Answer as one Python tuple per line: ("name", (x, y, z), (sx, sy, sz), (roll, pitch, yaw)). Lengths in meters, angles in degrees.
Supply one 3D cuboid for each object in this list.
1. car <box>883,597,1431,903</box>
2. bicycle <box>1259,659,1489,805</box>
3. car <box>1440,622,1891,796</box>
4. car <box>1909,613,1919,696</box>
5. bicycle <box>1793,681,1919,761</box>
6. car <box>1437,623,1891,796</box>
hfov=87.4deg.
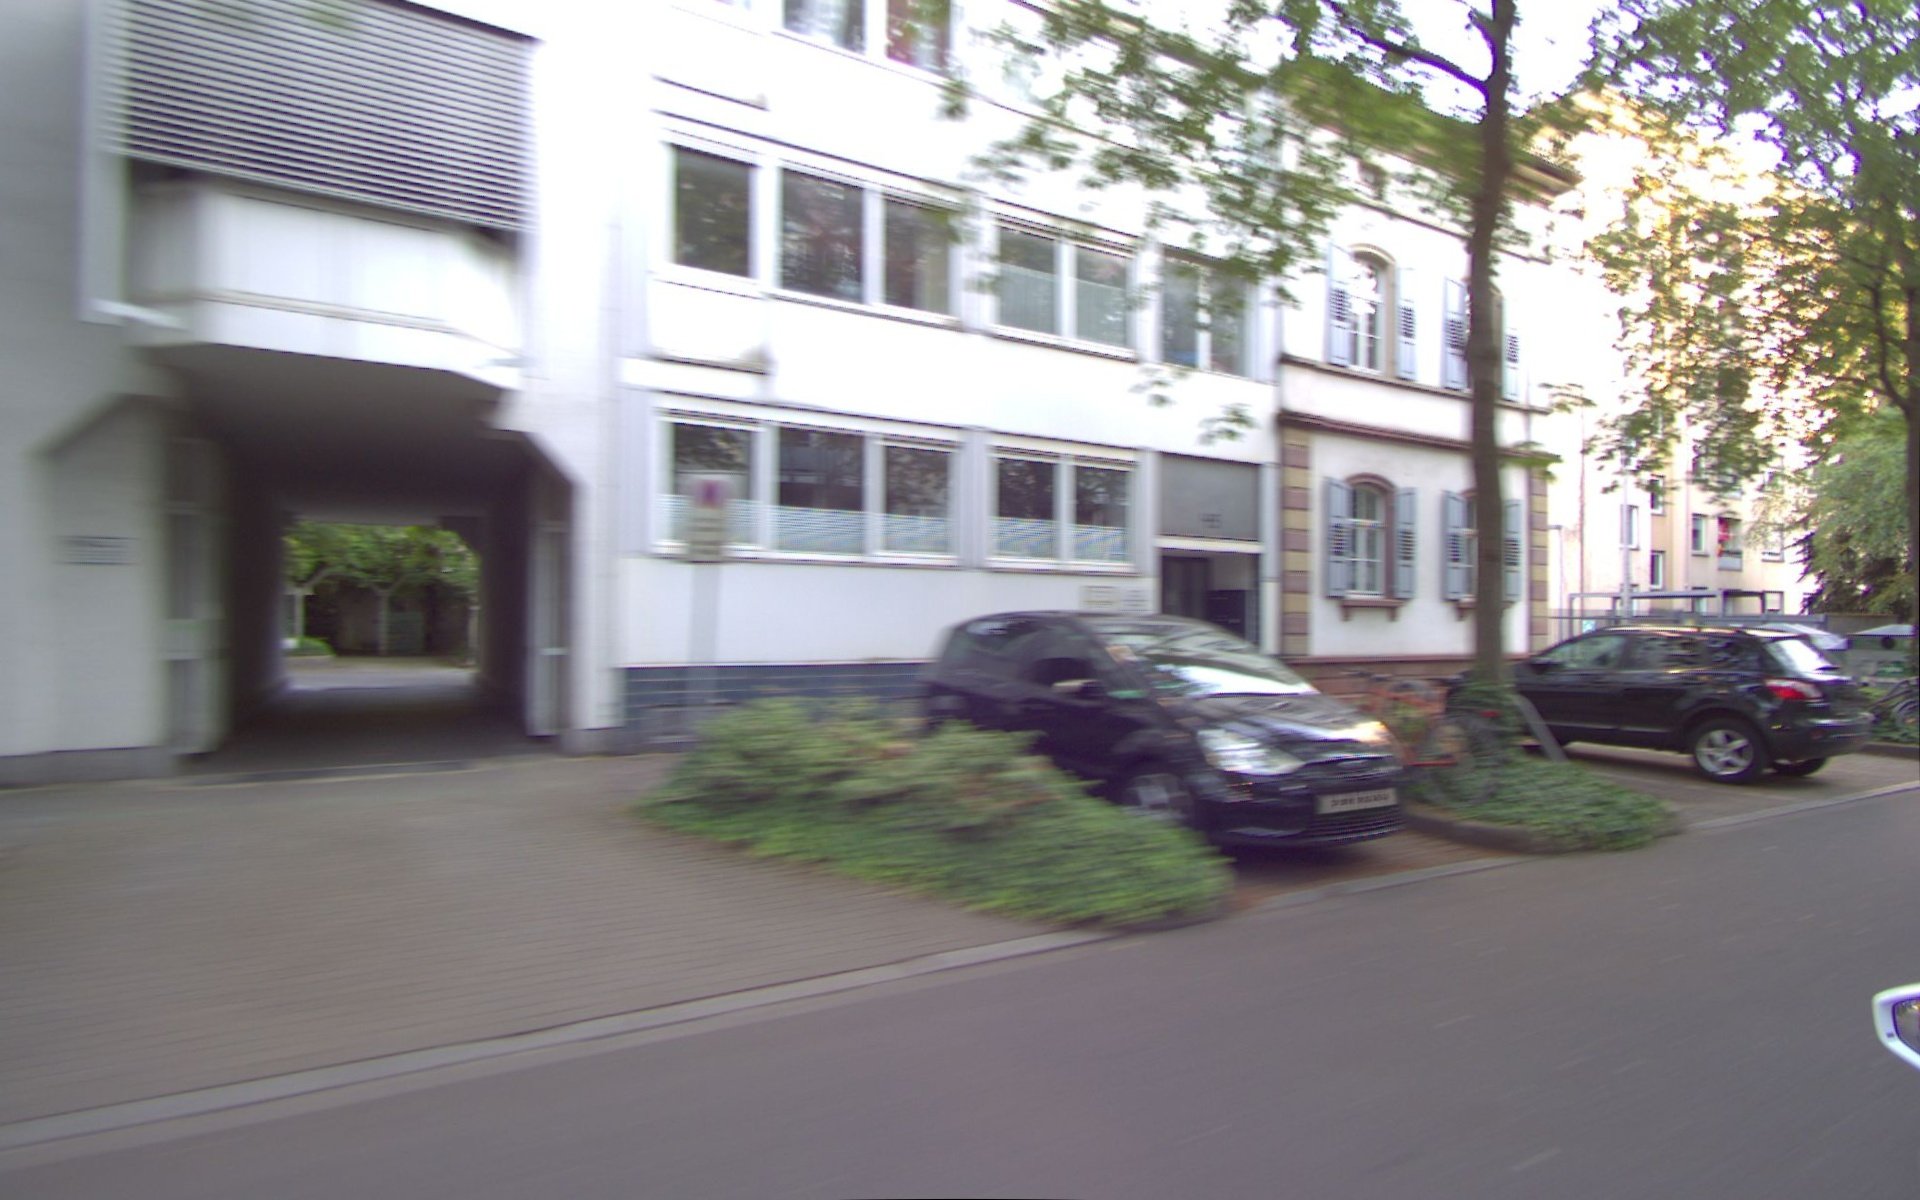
("car", (1.165, 0.910, 7.962), (1.604, 1.705, 4.509), (1, -2, -33))
("bicycle", (3.408, 1.044, 8.470), (0.474, 1.038, 1.892), (1, -2, -31))
("car", (7.970, 1.097, 11.756), (1.768, 1.613, 3.968), (1, -1, -30))
("car", (24.045, 1.269, 22.001), (1.976, 1.917, 4.397), (1, -1, -30))
("bicycle", (11.802, 1.553, 12.998), (1.536, 0.949, 0.482), (-1, -2, 38))
("car", (7.934, 1.096, 11.704), (1.808, 1.609, 3.966), (1, -1, -32))
